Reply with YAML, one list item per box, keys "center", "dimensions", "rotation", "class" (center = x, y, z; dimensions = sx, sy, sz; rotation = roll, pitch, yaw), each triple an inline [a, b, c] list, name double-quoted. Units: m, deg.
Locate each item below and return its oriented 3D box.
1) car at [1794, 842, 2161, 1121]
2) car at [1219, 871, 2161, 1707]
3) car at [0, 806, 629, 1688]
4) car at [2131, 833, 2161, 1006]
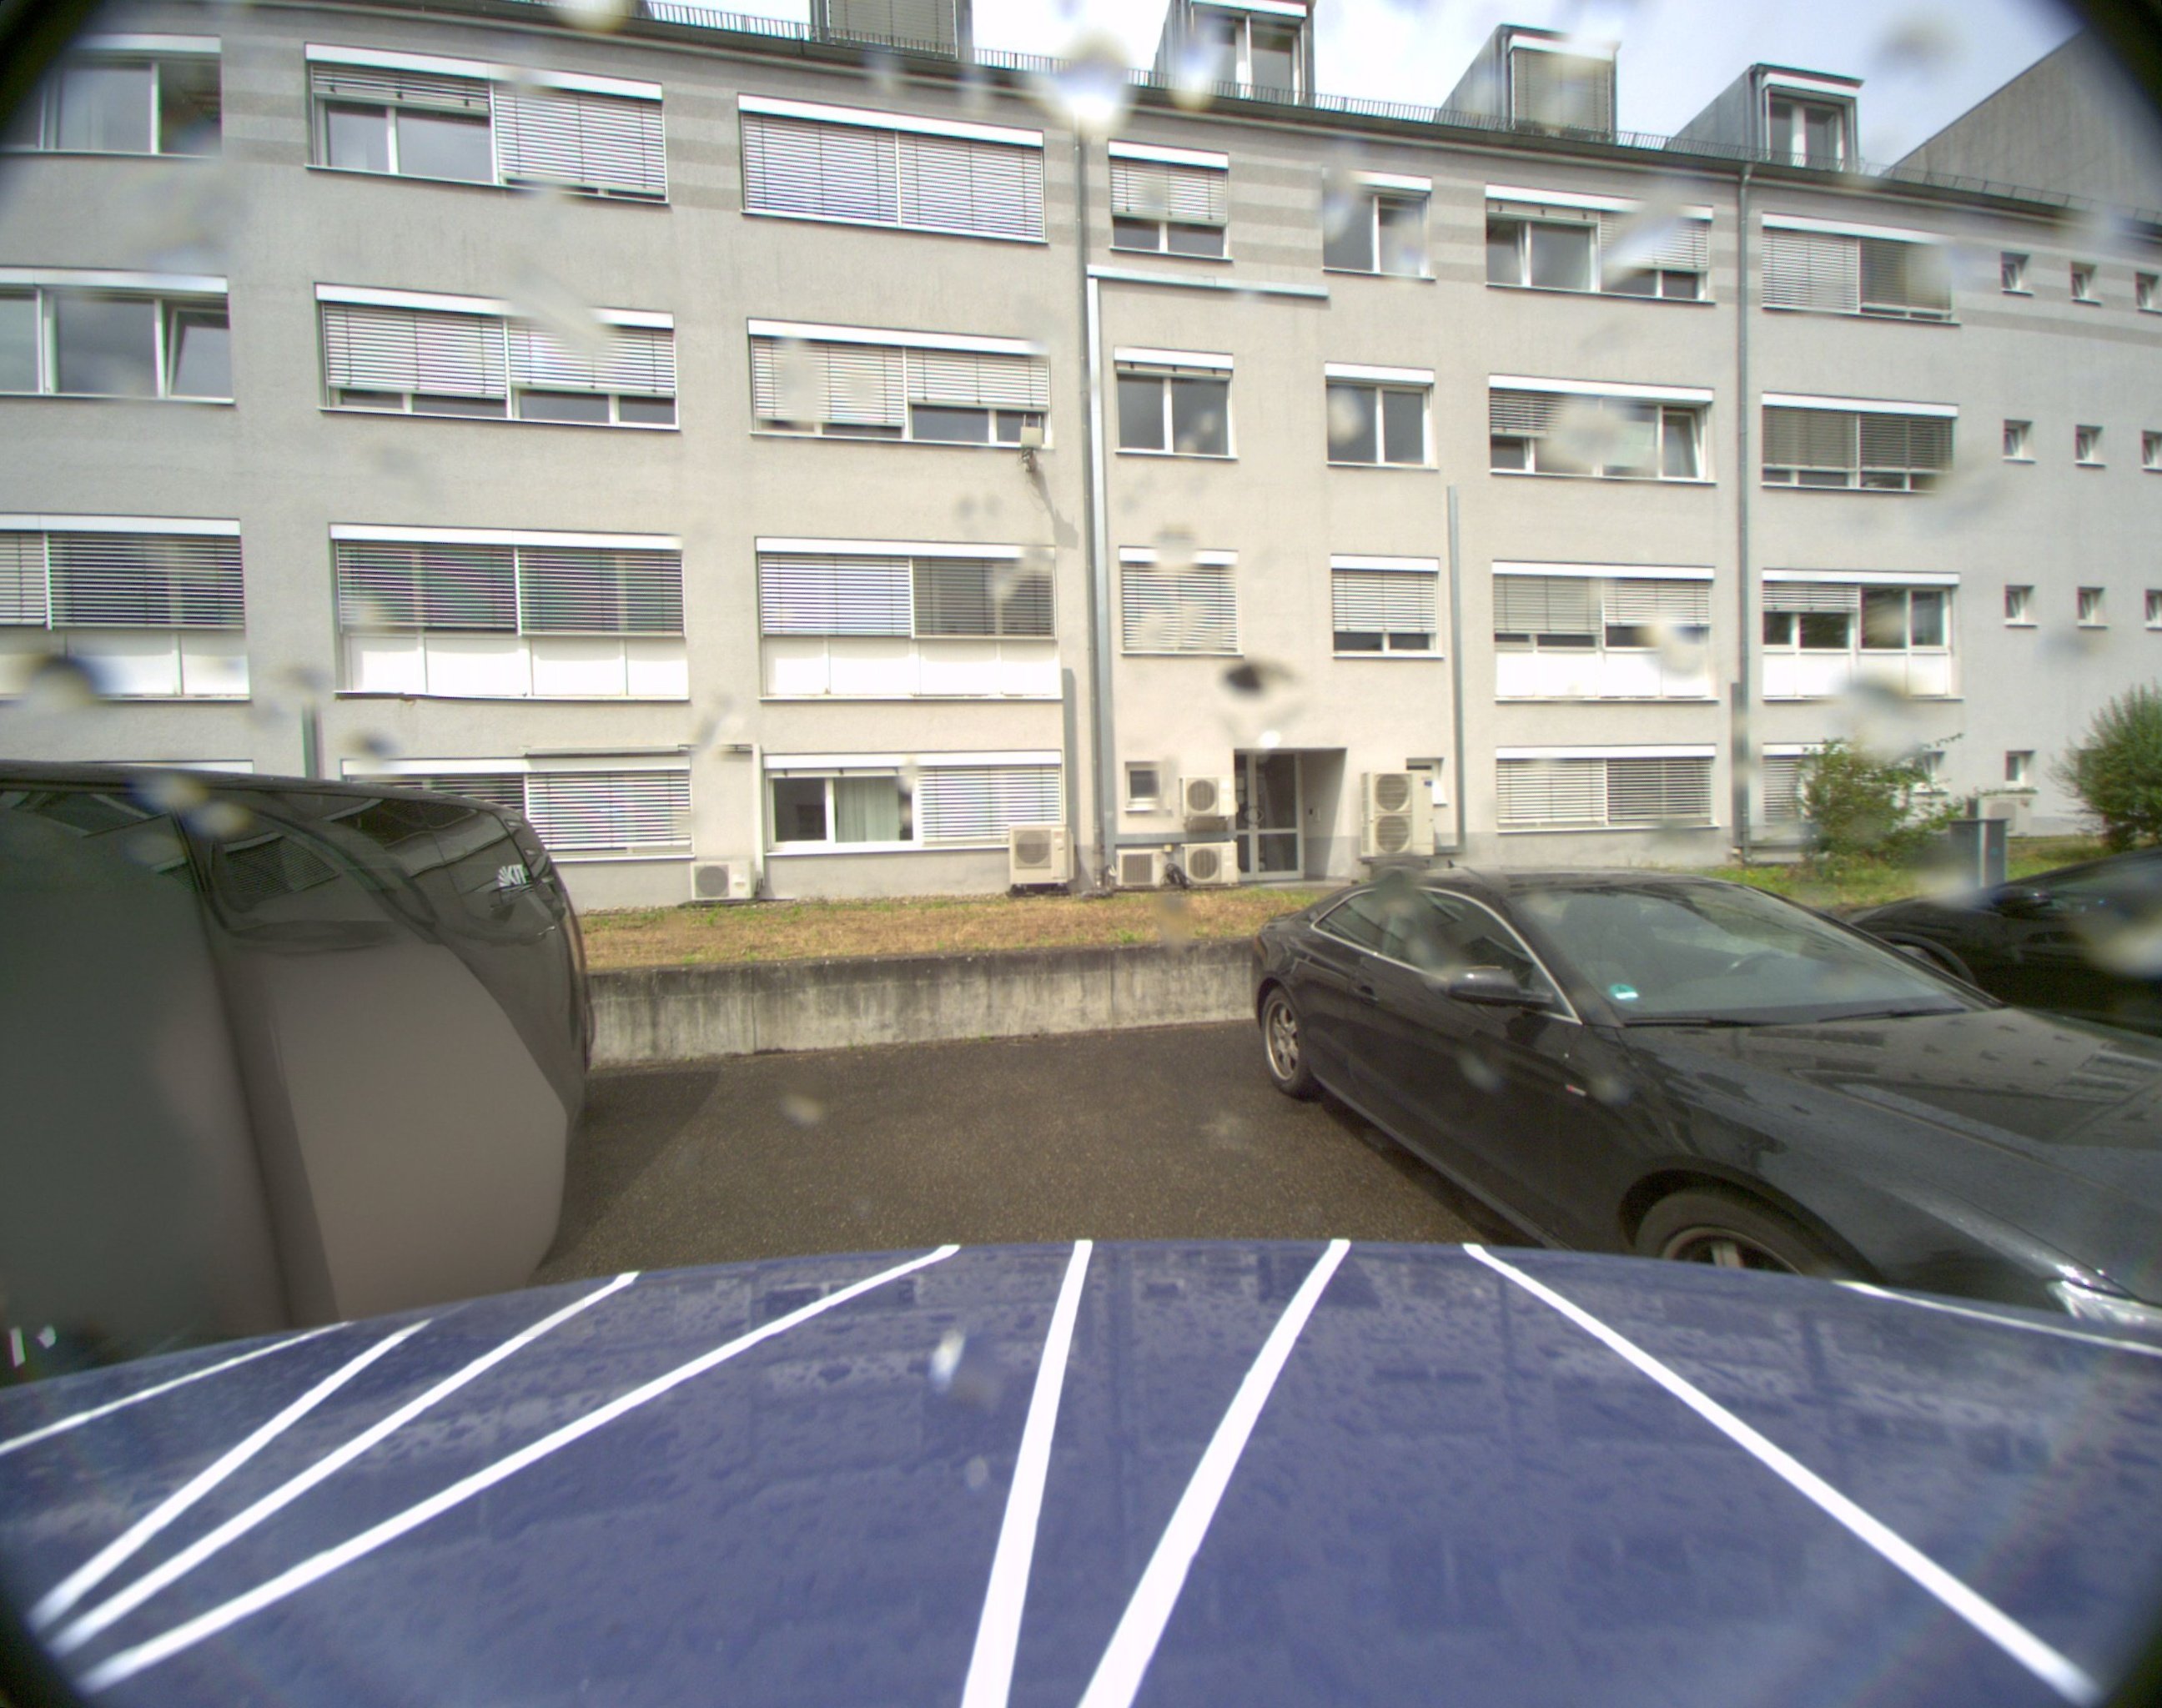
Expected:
- center: [6.755, 0.703, 3.920]
  dimensions: [1.763, 1.434, 4.311]
  rotation: [-3, 2, -9]
  class: "car"
- center: [2.172, 0.888, 3.138]
  dimensions: [1.763, 1.344, 4.524]
  rotation: [-3, 2, -8]
  class: "car"
- center: [-3.404, 0.845, 2.168]
  dimensions: [1.971, 1.854, 4.742]
  rotation: [-2, 2, -10]
  class: "car"
- center: [10.118, 0.566, 4.583]
  dimensions: [1.696, 1.434, 4.121]
  rotation: [-2, 2, -8]
  class: "car"
